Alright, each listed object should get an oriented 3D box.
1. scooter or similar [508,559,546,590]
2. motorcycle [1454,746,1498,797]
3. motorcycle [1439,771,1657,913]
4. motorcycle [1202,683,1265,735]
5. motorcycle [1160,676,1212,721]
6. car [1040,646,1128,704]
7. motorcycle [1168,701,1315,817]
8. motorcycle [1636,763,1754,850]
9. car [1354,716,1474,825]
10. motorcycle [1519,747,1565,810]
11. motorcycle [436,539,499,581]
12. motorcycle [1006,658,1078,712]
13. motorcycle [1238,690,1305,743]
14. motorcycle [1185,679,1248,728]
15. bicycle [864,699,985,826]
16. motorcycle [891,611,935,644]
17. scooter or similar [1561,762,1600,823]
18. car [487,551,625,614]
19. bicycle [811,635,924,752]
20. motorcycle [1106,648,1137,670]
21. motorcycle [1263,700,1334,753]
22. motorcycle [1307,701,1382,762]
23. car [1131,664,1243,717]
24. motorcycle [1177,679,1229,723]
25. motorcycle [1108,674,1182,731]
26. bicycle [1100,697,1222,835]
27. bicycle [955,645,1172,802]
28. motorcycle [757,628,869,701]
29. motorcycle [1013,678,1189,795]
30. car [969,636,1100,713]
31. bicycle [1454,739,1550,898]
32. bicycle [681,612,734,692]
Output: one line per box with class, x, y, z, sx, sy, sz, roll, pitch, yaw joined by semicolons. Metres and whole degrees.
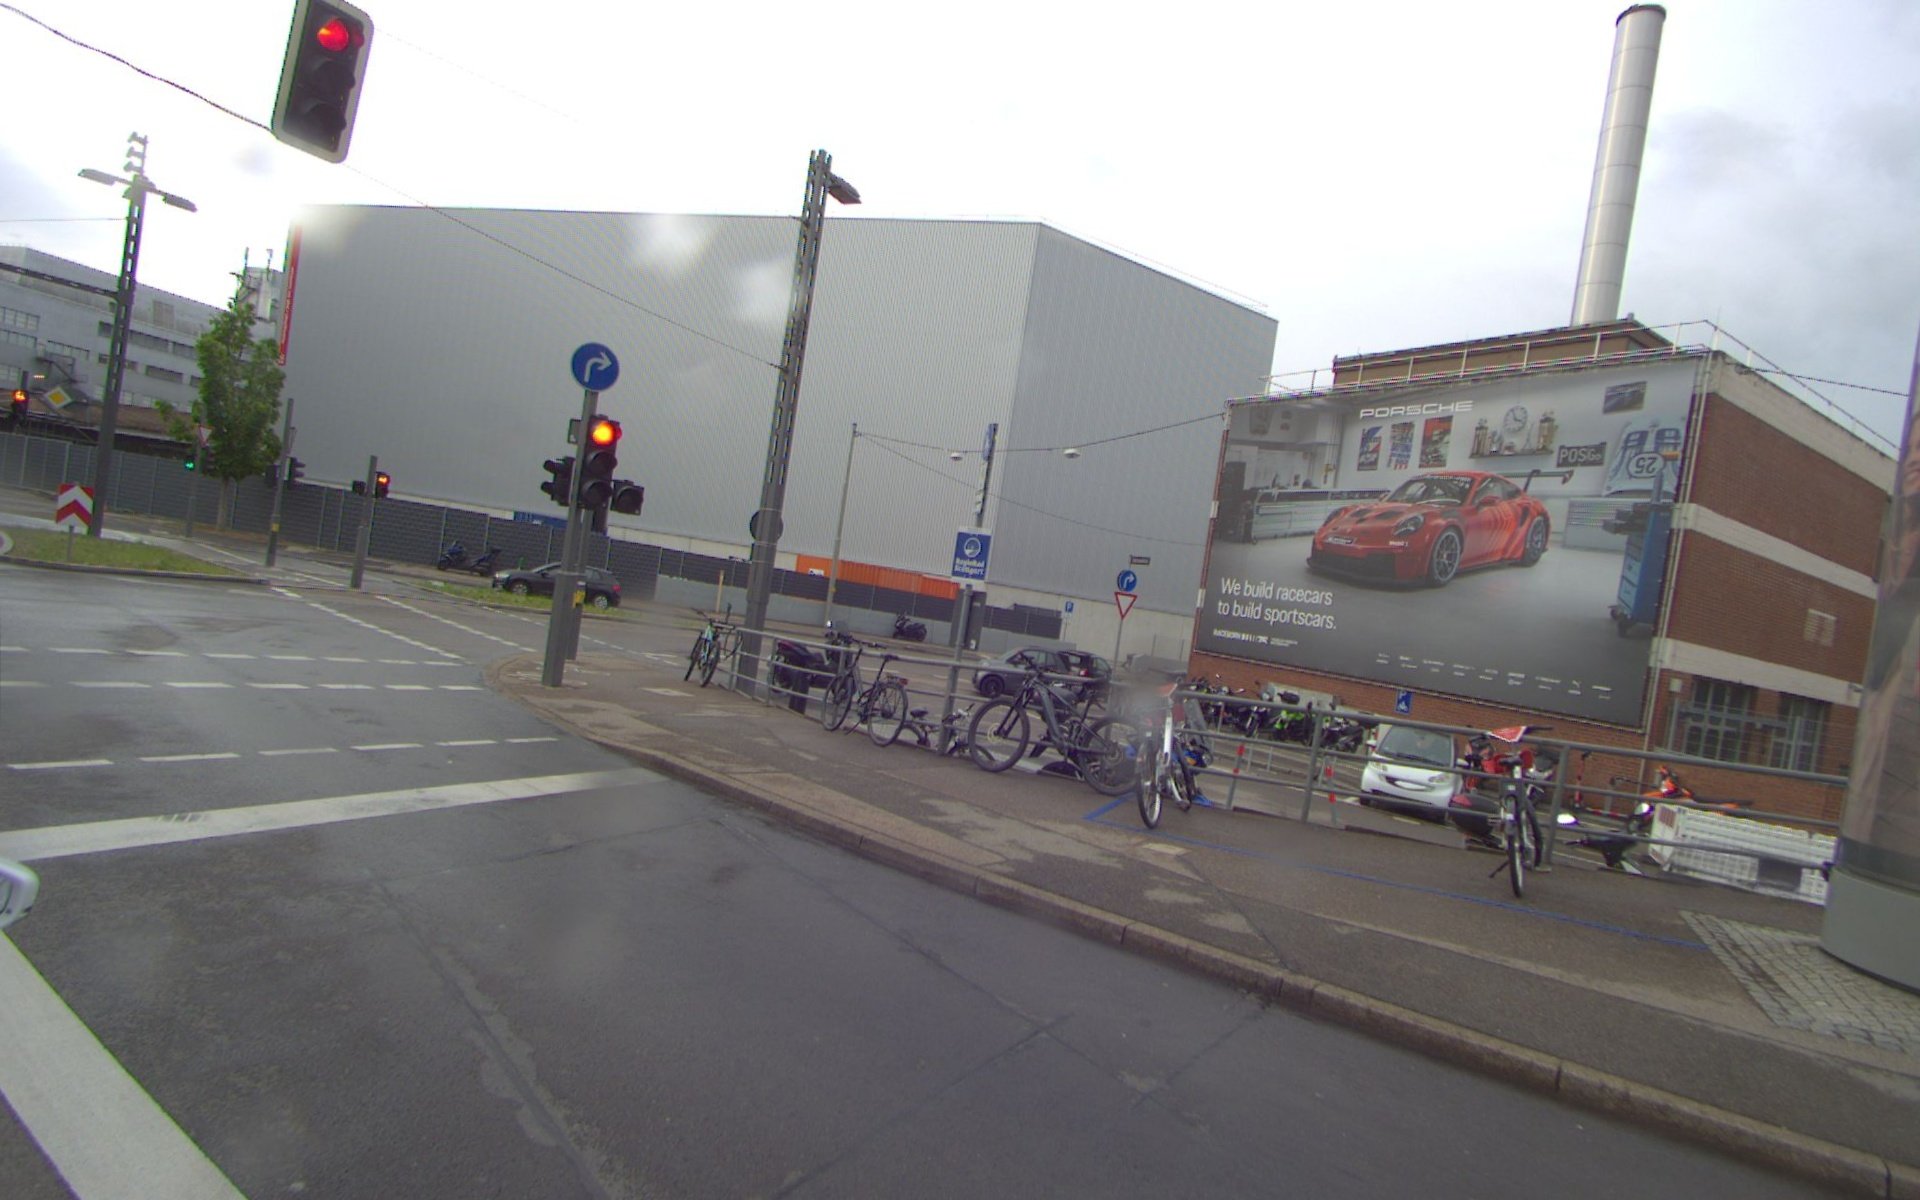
scooter or similar;-17.897;-1.056;41.590;1.247;1.041;0.385;9;0;0
motorcycle;11.299;3.731;22.001;0.533;0.984;1.613;6;-2;36
motorcycle;5.084;2.084;8.774;1.512;0.901;0.403;6;0;19
motorcycle;7.382;2.940;27.101;1.631;1.194;0.541;8;-2;-30
motorcycle;6.669;2.914;29.809;0.538;1.133;1.593;8;-2;-25
car;4.122;2.493;33.277;1.530;1.510;2.745;11;0;37
motorcycle;2.717;1.513;9.728;1.241;0.901;0.434;6;0;23
motorcycle;14.143;3.957;19.405;1.639;1.349;0.524;6;-1;21
car;8.550;3.066;18.753;1.541;1.506;3.996;8;-1;29
motorcycle;12.350;3.760;21.333;0.576;1.165;1.717;6;-2;36
motorcycle;-19.826;-1.597;40.501;2.082;1.326;0.649;10;0;-33
motorcycle;2.101;2.163;25.649;1.702;1.159;0.492;8;-2;-24
motorcycle;8.158;3.053;26.328;1.695;1.194;0.541;8;-2;-30
motorcycle;7.243;2.927;28.403;1.631;1.194;0.670;8;-2;-30
bicycle;-0.432;1.759;11.139;0.344;1.097;1.728;7;-1;-35
motorcycle;-2.427;1.415;51.875;2.082;1.393;0.649;10;0;-33
scooter or similar;12.892;3.974;20.885;0.496;1.109;1.635;6;-2;36
car;-13.480;-0.583;33.598;3.958;1.442;1.707;9;-1;-30
bicycle;-1.077;1.014;11.331;0.344;1.097;1.728;7;-1;-35
motorcycle;10.311;3.759;64.119;0.622;1.088;1.906;8;0;-38
motorcycle;8.419;3.141;24.989;1.789;1.132;0.474;8;-2;-28
motorcycle;9.340;3.200;24.432;1.788;1.253;0.540;8;1;-30
car;8.345;3.335;36.833;4.070;1.460;1.554;9;-2;-35
motorcycle;7.383;3.072;30.632;0.538;1.123;1.639;8;-2;-25
motorcycle;4.441;2.443;24.267;0.539;1.123;1.850;8;-2;-32
bicycle;1.722;1.328;8.417;0.414;0.973;1.744;6;-1;29
bicycle;0.967;1.149;9.716;1.981;1.189;0.400;6;0;30
motorcycle;-2.652;1.199;18.371;0.481;1.158;2.086;6;-3;41
motorcycle;1.416;1.371;10.336;1.722;0.906;0.545;6;-1;44
car;1.974;2.014;27.389;3.190;1.521;1.624;9;0;-4
bicycle;4.043;1.554;7.450;0.414;0.933;1.613;8;0;32
bicycle;-4.095;0.806;16.228;0.416;1.143;2.064;7;-2;-22
